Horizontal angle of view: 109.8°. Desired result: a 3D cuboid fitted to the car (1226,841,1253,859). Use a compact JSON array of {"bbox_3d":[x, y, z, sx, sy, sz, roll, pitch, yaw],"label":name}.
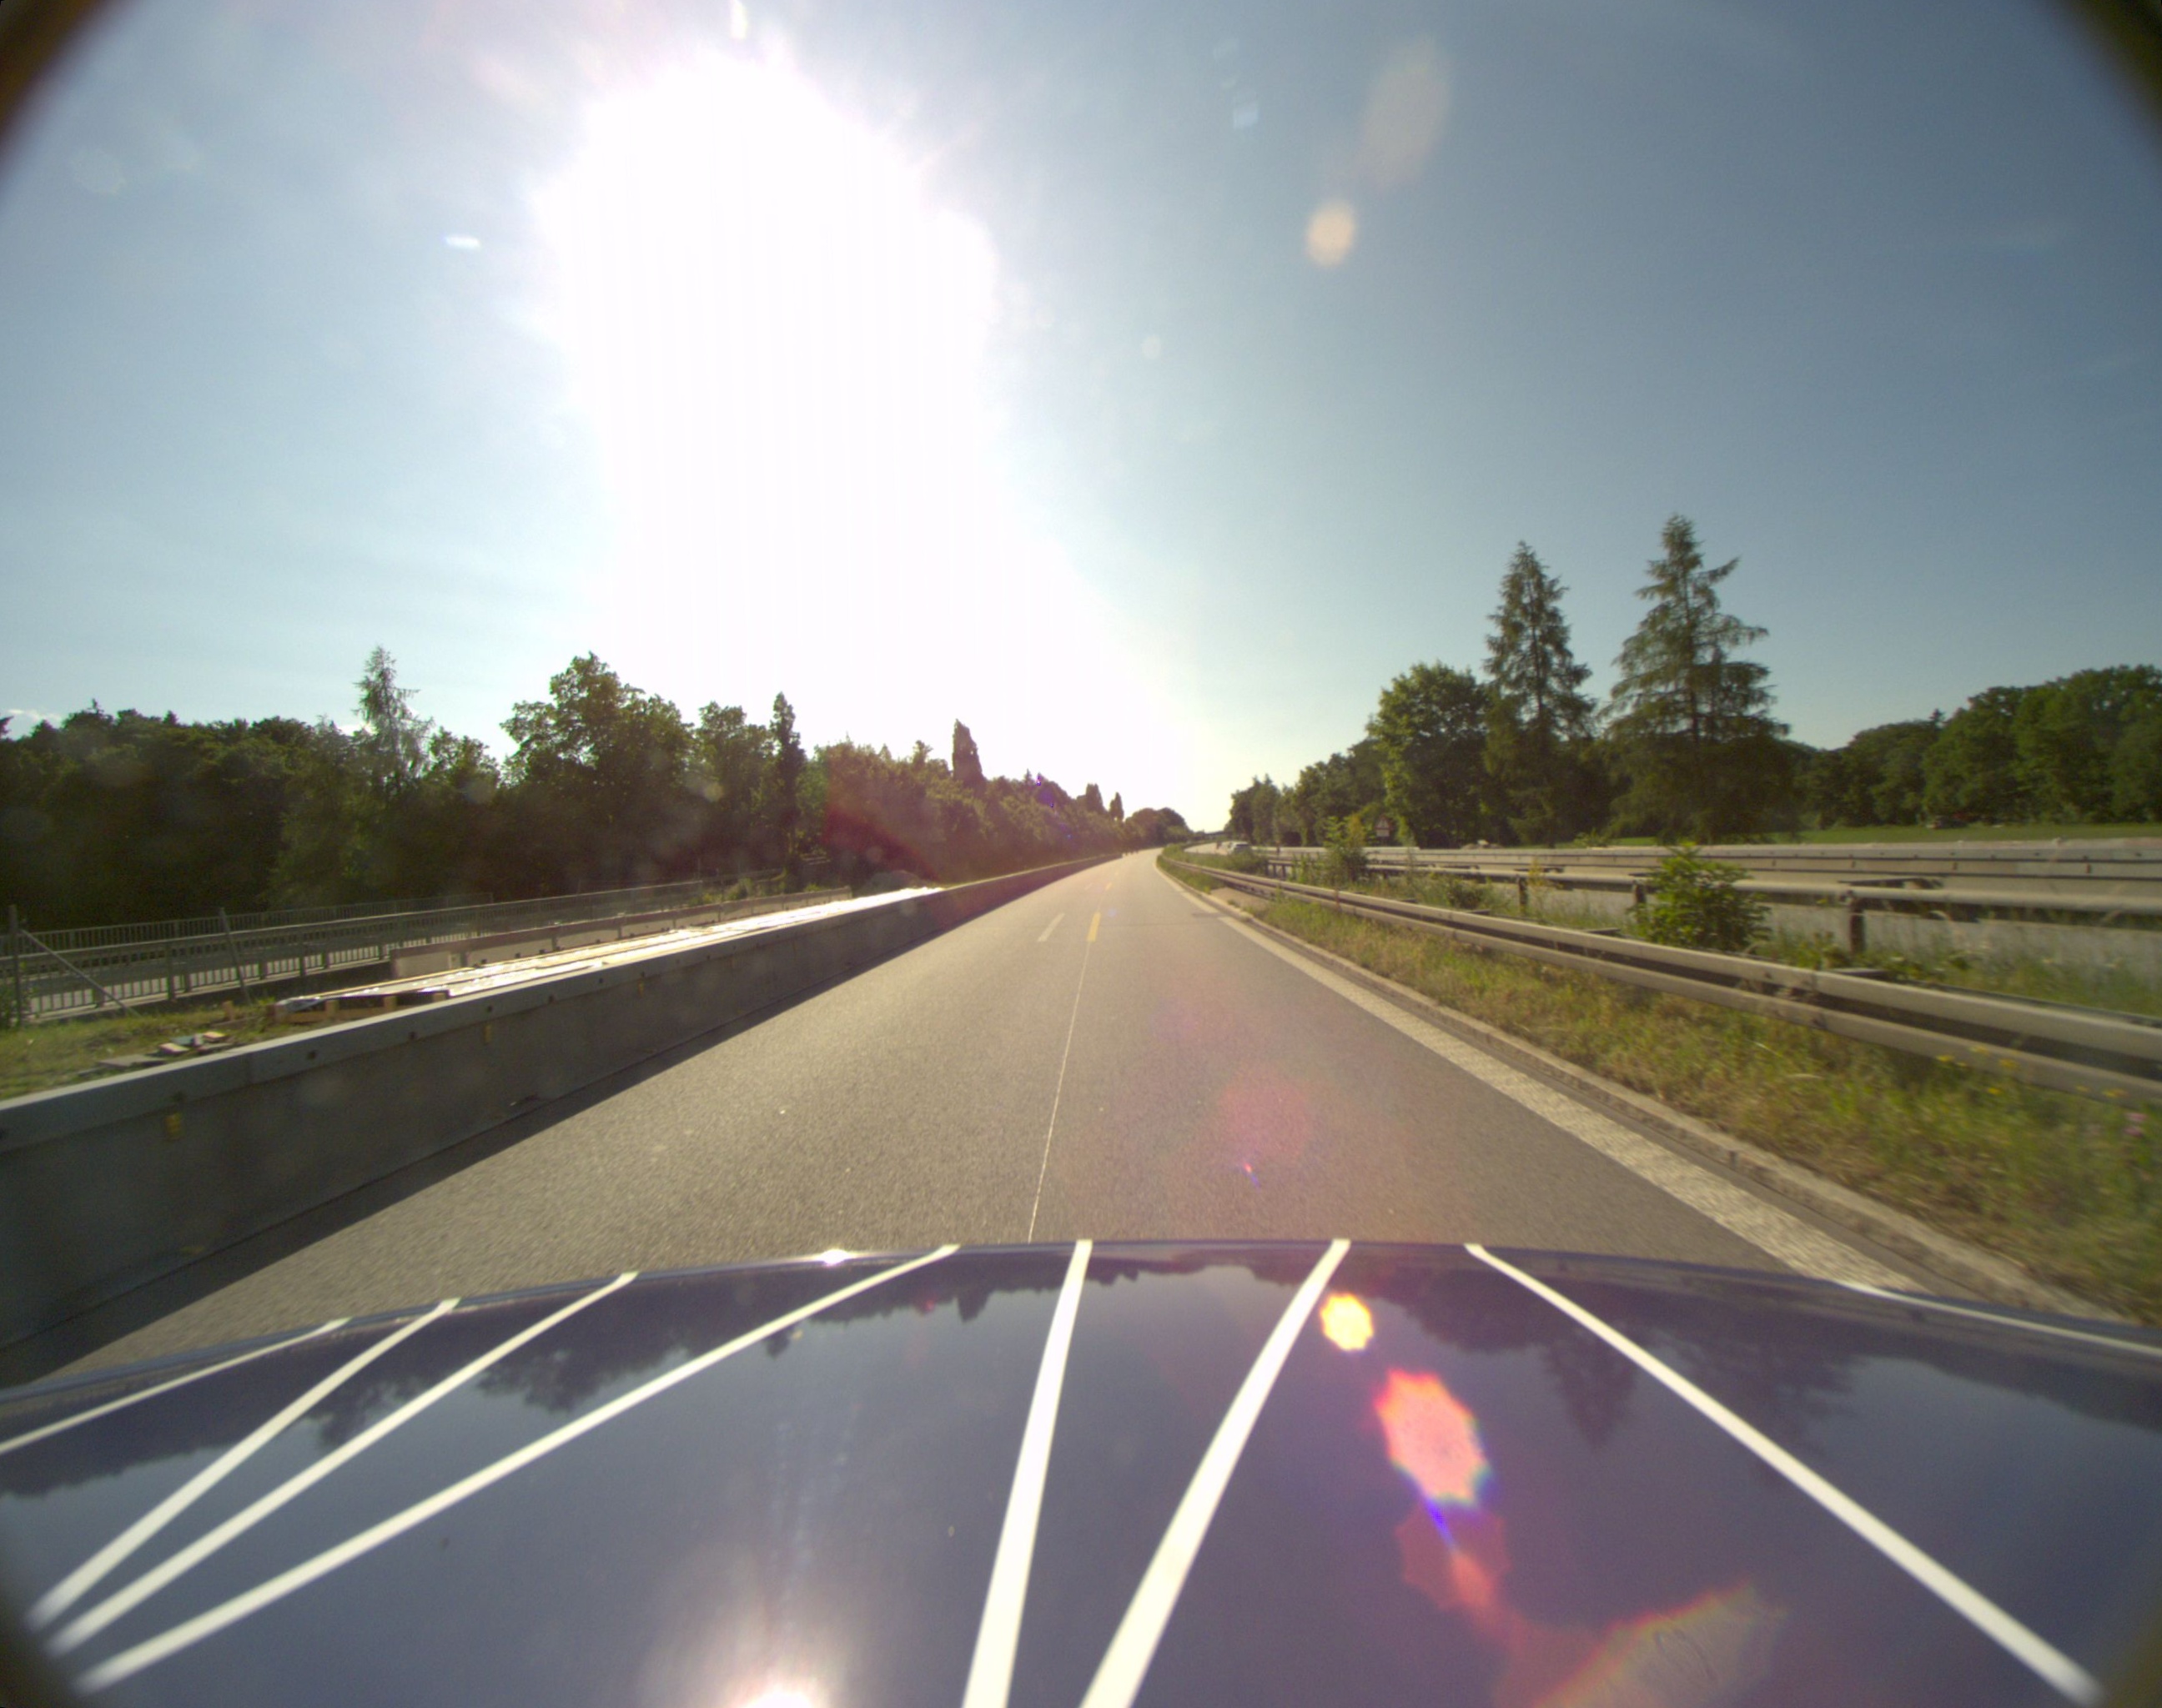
[{"bbox_3d":[14.336,-0.362,68.895,1.763,1.503,4.535,-2,1,5],"label":"car"}]
